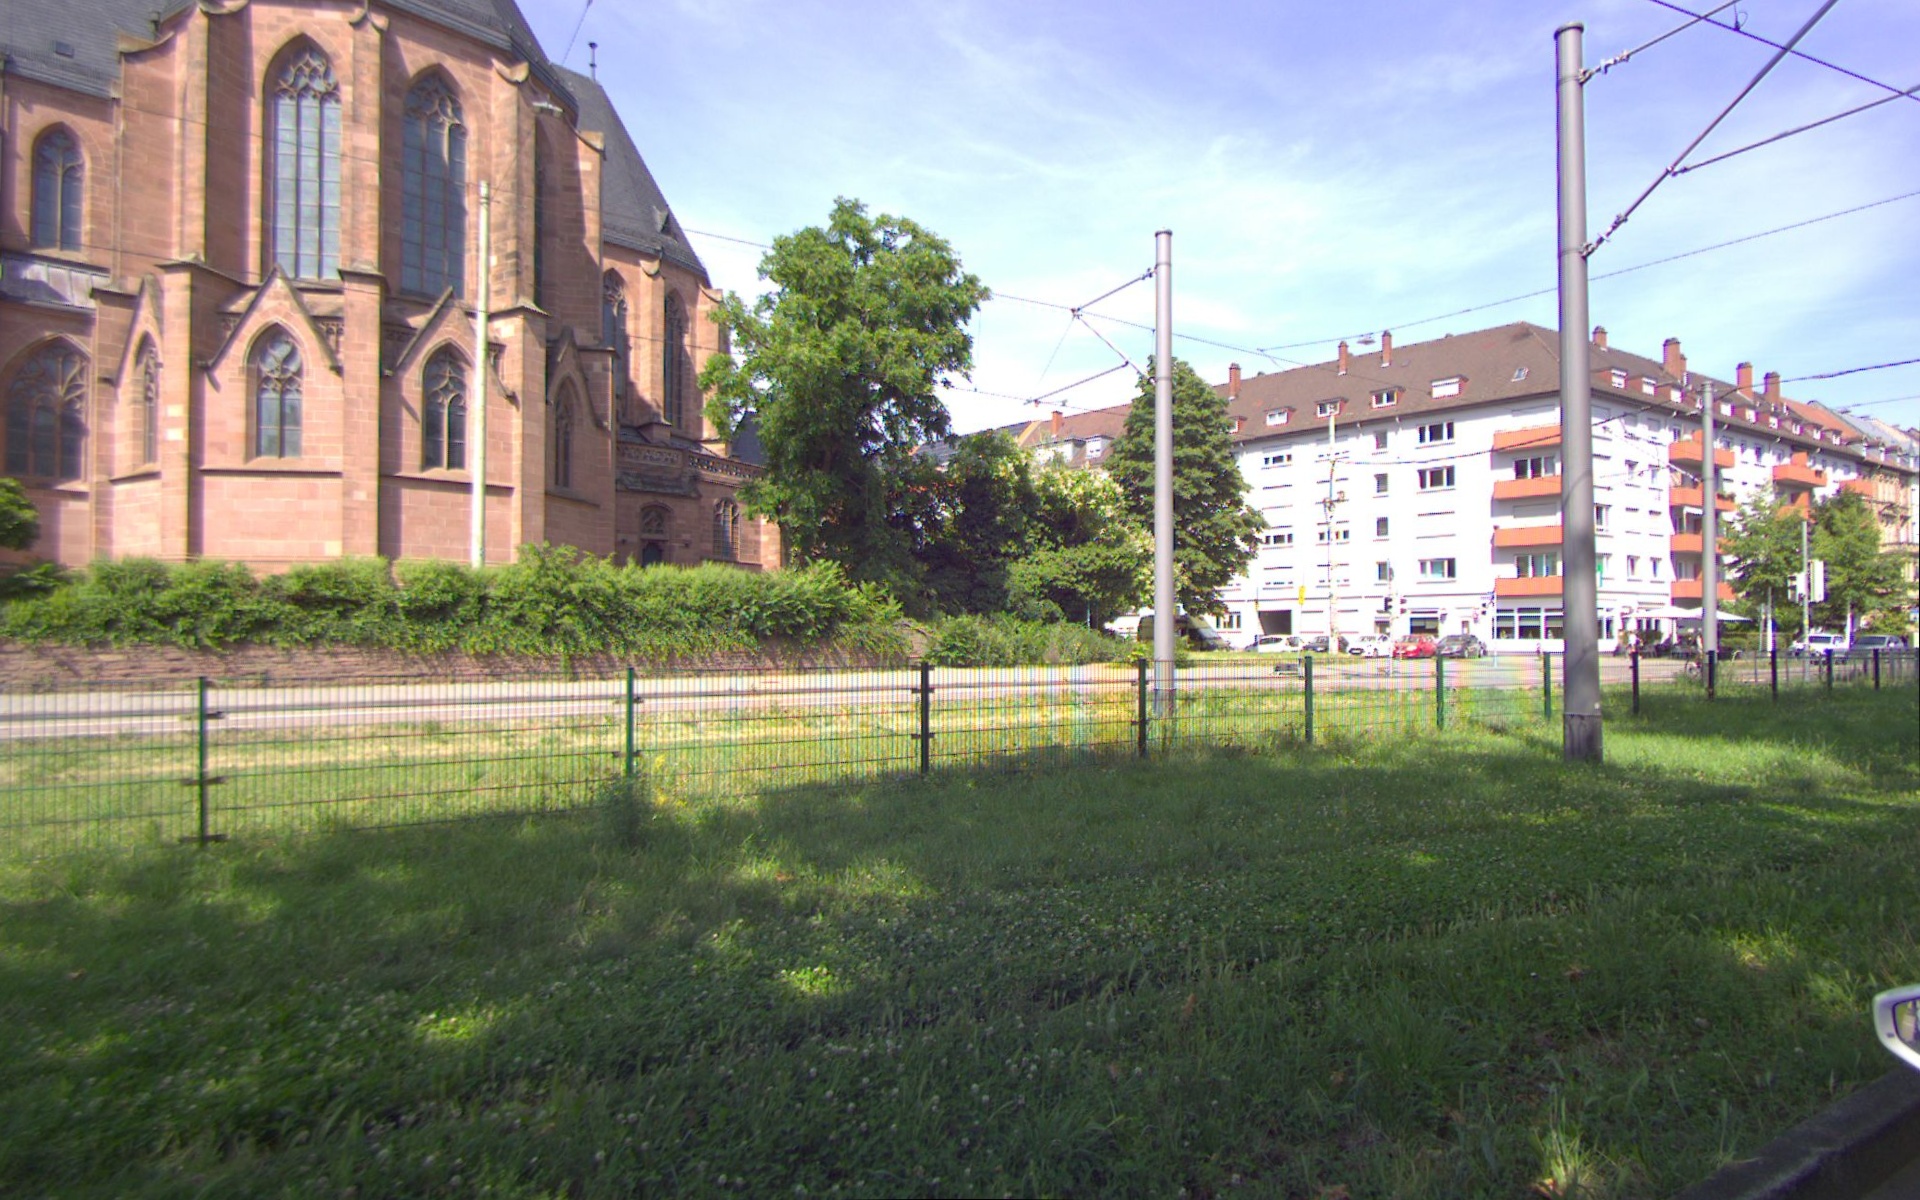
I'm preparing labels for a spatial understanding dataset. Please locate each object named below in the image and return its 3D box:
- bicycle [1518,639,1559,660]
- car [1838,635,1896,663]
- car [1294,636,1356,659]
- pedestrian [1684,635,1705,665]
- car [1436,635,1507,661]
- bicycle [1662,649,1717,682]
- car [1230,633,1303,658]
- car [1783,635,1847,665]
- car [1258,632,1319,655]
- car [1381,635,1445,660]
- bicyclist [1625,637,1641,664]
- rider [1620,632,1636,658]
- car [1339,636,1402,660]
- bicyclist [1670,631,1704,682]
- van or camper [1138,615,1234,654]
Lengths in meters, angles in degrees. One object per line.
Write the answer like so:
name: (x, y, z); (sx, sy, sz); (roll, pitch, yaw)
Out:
bicycle: (32.268, 2.750, 55.989); (2.780, 1.152, 0.905); (1, -2, -35)
car: (52.450, 2.820, 58.060); (3.964, 1.517, 1.758); (1, -4, -38)
car: (23.289, 3.003, 64.081); (4.132, 1.425, 1.917); (2, -2, -40)
pedestrian: (38.977, 2.641, 53.308); (0.846, 1.593, 0.688); (-1, -2, 35)
car: (29.457, 2.734, 57.778); (4.601, 1.394, 1.820); (1, -2, -38)
bicycle: (24.073, 2.153, 33.139); (1.899, 1.062, 0.530); (1, -3, -23)
car: (18.114, 2.685, 59.425); (3.700, 1.425, 1.824); (-2, -3, 42)
car: (45.477, 2.643, 53.394); (3.964, 1.517, 1.758); (1, -4, -38)
car: (21.707, 2.856, 66.355); (4.131, 1.425, 1.917); (2, -2, -40)
car: (27.222, 2.819, 60.310); (4.132, 1.425, 1.917); (2, -3, -40)
bicyclist: (36.086, 2.699, 53.845); (0.616, 1.442, 0.587); (-1, -2, 42)
rider: (36.245, 2.434, 54.497); (0.616, 1.442, 0.587); (-1, -2, 42)
car: (25.619, 2.977, 62.580); (4.132, 1.425, 1.917); (2, -3, -40)
bicyclist: (23.979, 1.845, 33.121); (0.685, 1.644, 0.621); (1, -2, -23)
van or camper: (14.236, 2.165, 63.601); (2.230, 2.360, 5.702); (2, -2, -44)
